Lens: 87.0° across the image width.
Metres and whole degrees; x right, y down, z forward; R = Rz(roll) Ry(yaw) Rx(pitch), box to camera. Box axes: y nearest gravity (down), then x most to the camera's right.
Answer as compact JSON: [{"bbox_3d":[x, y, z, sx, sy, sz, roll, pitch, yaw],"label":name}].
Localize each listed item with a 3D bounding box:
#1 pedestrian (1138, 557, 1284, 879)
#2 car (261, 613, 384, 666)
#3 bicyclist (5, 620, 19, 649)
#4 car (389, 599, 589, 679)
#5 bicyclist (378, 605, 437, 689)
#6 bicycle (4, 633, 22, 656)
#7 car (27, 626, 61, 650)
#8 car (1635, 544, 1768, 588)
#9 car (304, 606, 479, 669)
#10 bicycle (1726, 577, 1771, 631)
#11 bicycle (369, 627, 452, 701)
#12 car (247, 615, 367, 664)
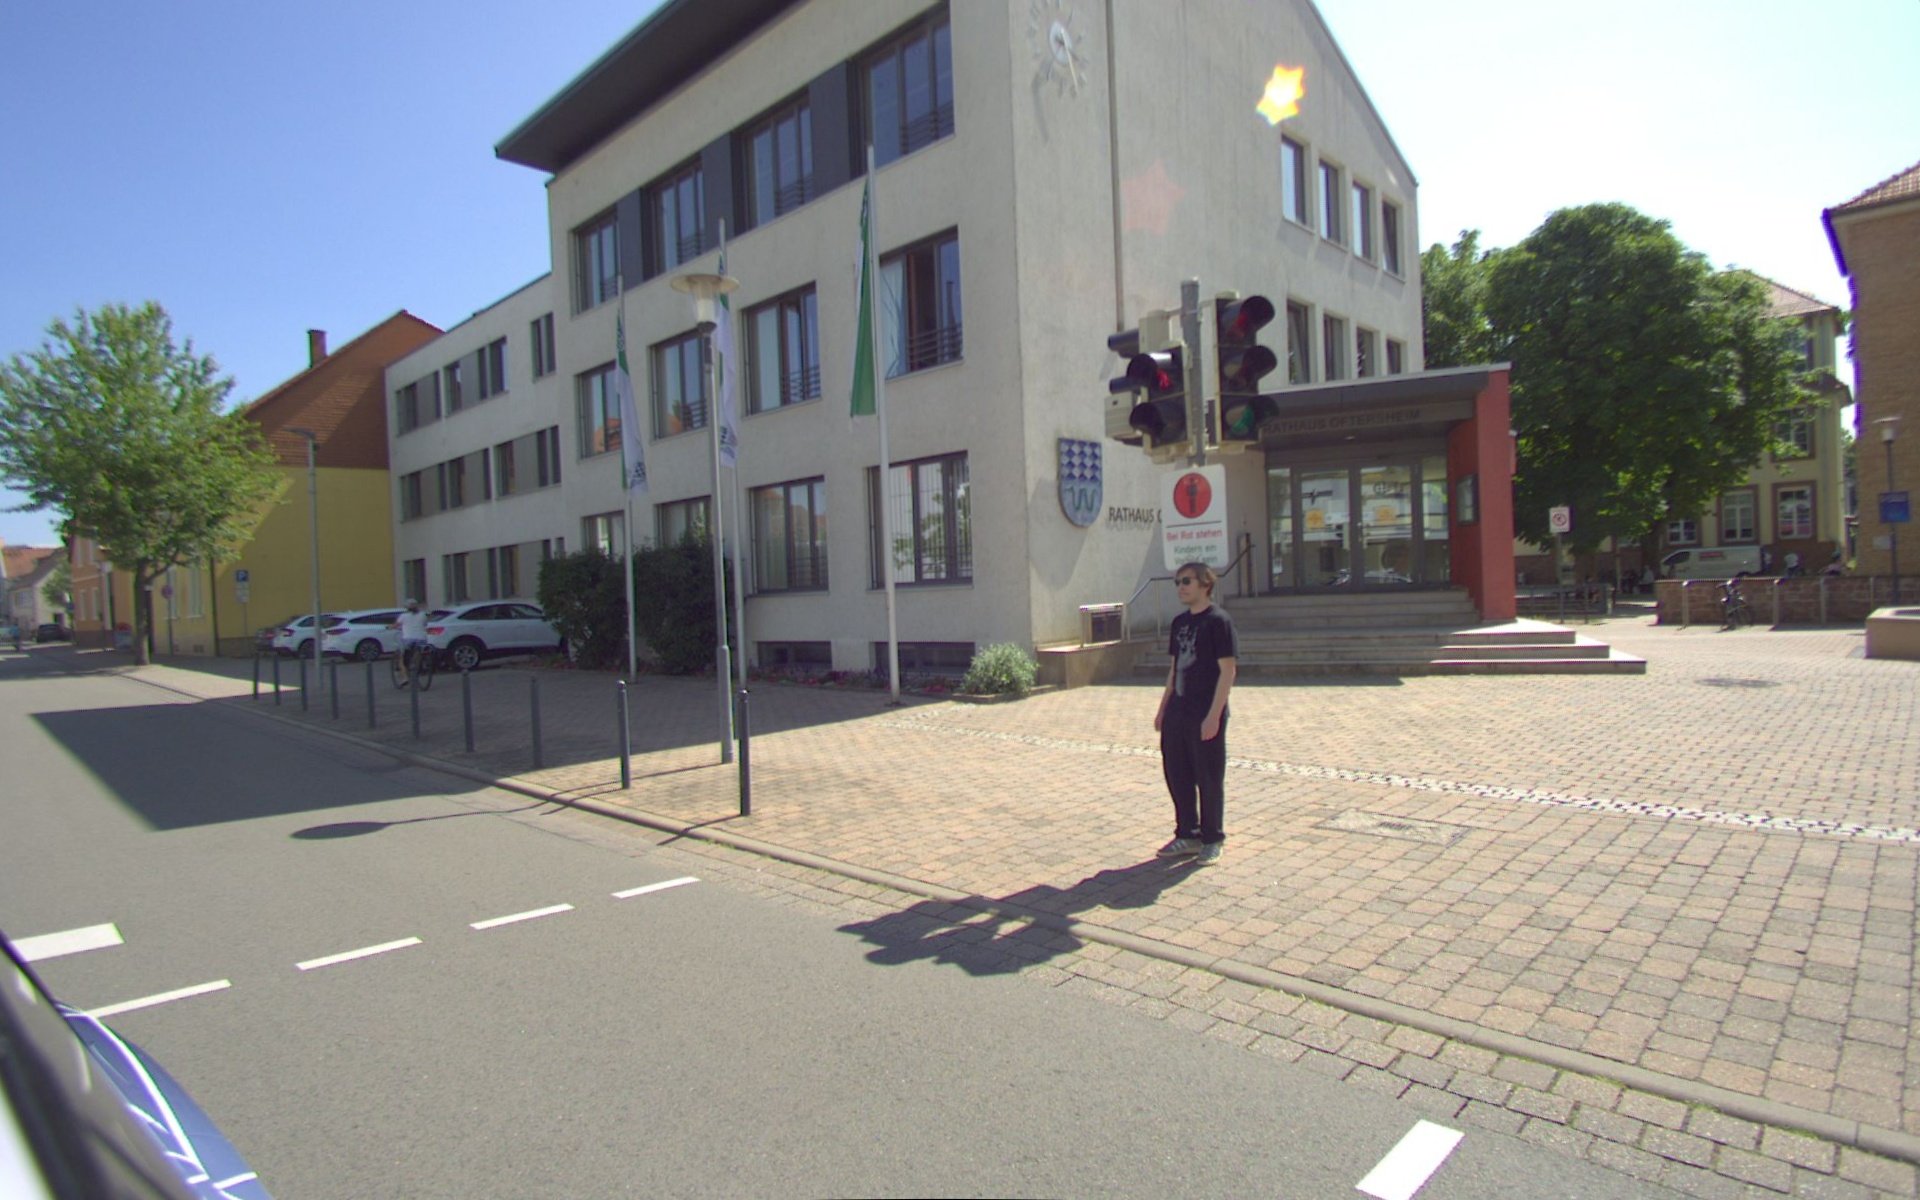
[{"bbox_3d":[1.343,0.595,5.480,0.541,1.631,0.558,-2,1,-11],"label":"pedestrian"},{"bbox_3d":[-21.089,1.274,33.537,1.643,1.461,3.096,-2,2,45],"label":"car"},{"bbox_3d":[-53.869,1.950,57.525,0.551,1.652,0.531,-2,0,43],"label":"bicyclist"},{"bbox_3d":[-11.249,0.891,24.348,1.749,1.559,3.944,-2,2,43],"label":"car"},{"bbox_3d":[-10.414,0.871,19.066,0.871,1.518,0.706,-2,0,42],"label":"bicyclist"},{"bbox_3d":[-53.868,2.521,57.544,1.725,1.198,0.587,-2,1,43],"label":"bicycle"},{"bbox_3d":[-74.676,3.065,82.486,4.001,1.829,1.801,-2,0,44],"label":"car"},{"bbox_3d":[37.375,-1.683,51.102,5.274,1.952,1.974,-2,0,40],"label":"car"},{"bbox_3d":[-16.955,1.085,30.339,1.514,1.489,4.265,-2,2,45],"label":"car"},{"bbox_3d":[17.062,0.072,21.877,0.580,1.013,1.927,-2,2,43],"label":"bicycle"},{"bbox_3d":[-10.364,1.181,19.072,1.972,1.261,0.701,-2,2,42],"label":"bicycle"},{"bbox_3d":[-22.626,1.345,35.125,1.374,1.412,3.215,-2,2,43],"label":"car"}]
